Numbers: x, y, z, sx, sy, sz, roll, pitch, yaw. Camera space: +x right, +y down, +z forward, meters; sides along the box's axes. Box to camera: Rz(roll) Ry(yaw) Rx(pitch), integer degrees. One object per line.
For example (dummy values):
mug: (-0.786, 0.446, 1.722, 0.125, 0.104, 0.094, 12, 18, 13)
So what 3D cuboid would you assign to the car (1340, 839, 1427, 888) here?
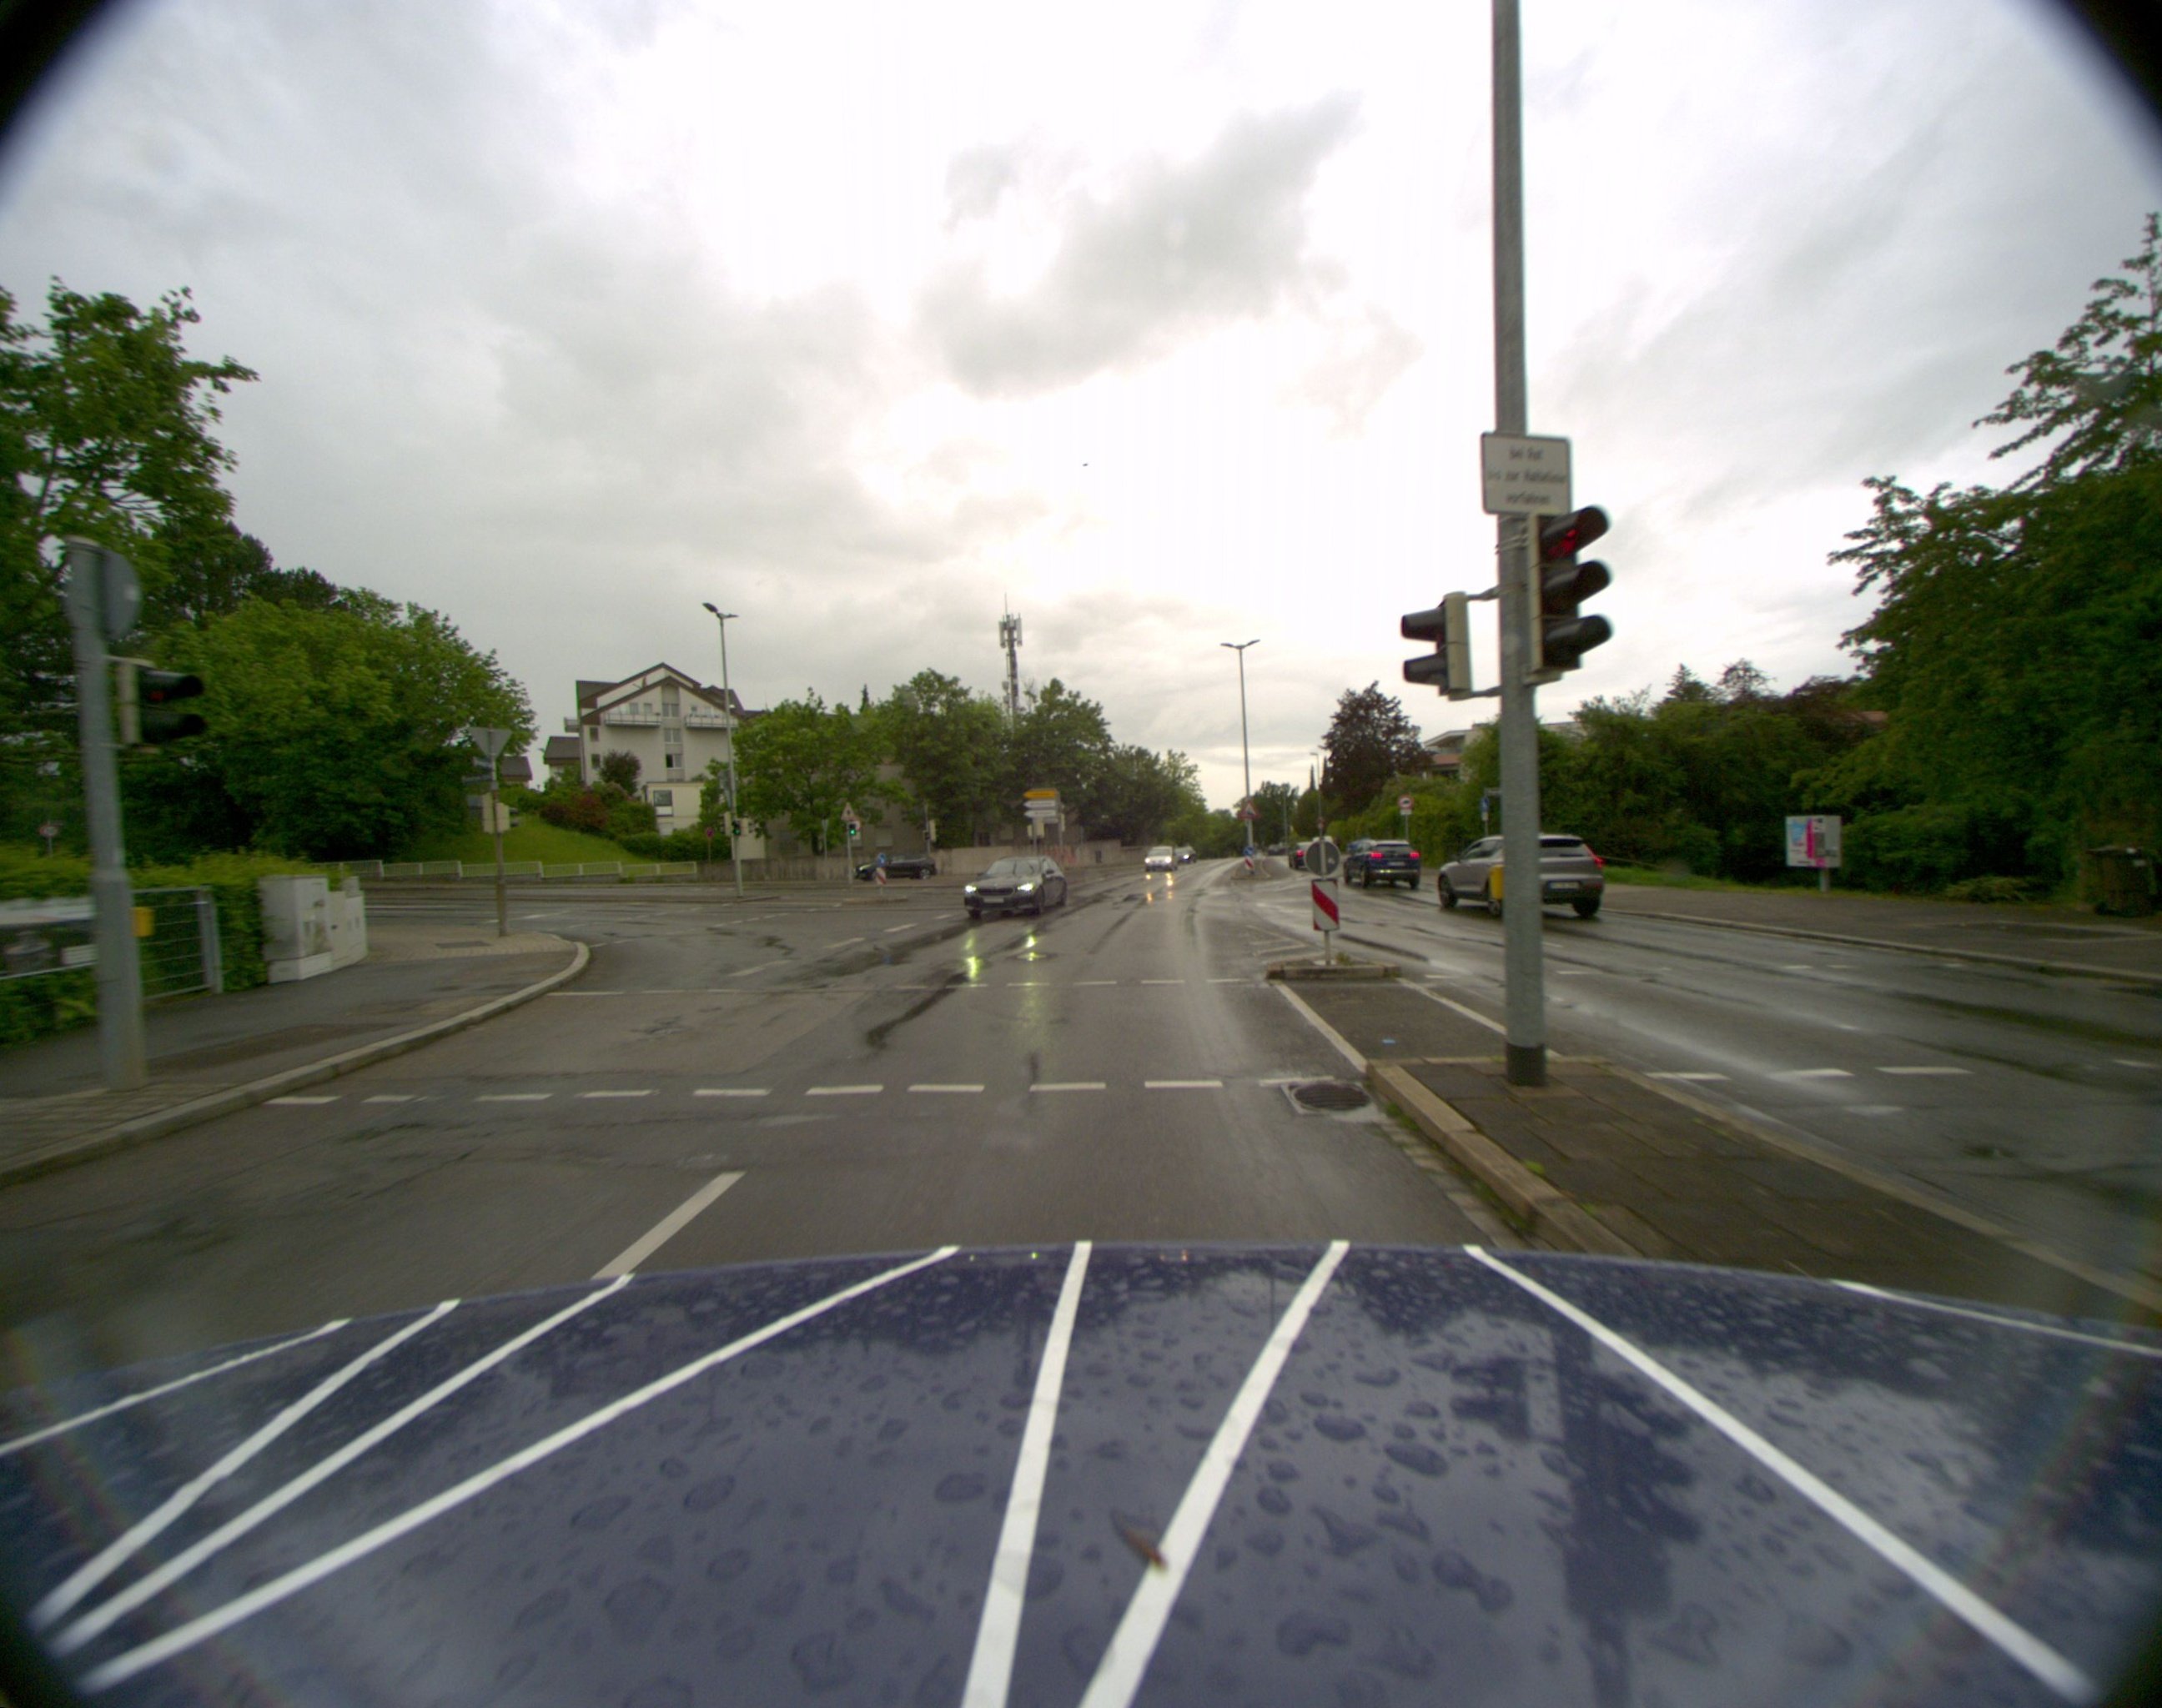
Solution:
car: (10.616, 0.266, 27.013, 1.868, 1.545, 4.448, 0, 2, 8)

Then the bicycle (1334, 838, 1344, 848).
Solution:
bicycle: (23.532, -0.968, 69.245, 0.742, 0.846, 1.974, -2, 1, 20)

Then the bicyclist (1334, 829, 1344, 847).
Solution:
bicyclist: (23.506, -1.453, 69.210, 0.742, 1.637, 0.778, -2, 2, 20)

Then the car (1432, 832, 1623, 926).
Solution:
car: (9.199, 0.405, 16.113, 1.886, 1.668, 4.232, -2, 2, 6)

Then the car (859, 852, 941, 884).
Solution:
car: (-9.961, 0.732, 41.891, 4.005, 1.543, 1.690, -3, 2, -30)

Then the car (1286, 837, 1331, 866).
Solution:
car: (12.535, -0.165, 42.095, 1.868, 1.468, 4.448, 0, 2, 9)

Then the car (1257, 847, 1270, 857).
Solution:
car: (29.526, -0.378, 123.103, 1.819, 1.448, 4.002, -2, 2, 12)

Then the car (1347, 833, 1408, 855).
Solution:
car: (21.708, -0.735, 55.781, 3.885, 1.448, 1.769, -2, 2, 10)

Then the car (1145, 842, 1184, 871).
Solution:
car: (5.357, 0.133, 48.295, 1.997, 1.647, 4.002, -2, 2, 12)

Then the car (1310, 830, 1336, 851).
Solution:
car: (21.306, -1.229, 66.991, 1.819, 1.707, 4.002, -2, 2, 12)

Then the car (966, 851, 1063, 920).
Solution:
car: (-1.652, 0.760, 20.297, 1.872, 1.510, 4.000, -2, 2, 4)

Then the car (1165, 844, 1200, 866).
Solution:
car: (8.692, 0.078, 64.834, 1.996, 1.647, 4.231, -1, 2, 20)

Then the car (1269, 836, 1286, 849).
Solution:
car: (24.634, -1.419, 95.177, 1.819, 1.448, 4.002, -2, 2, 12)
